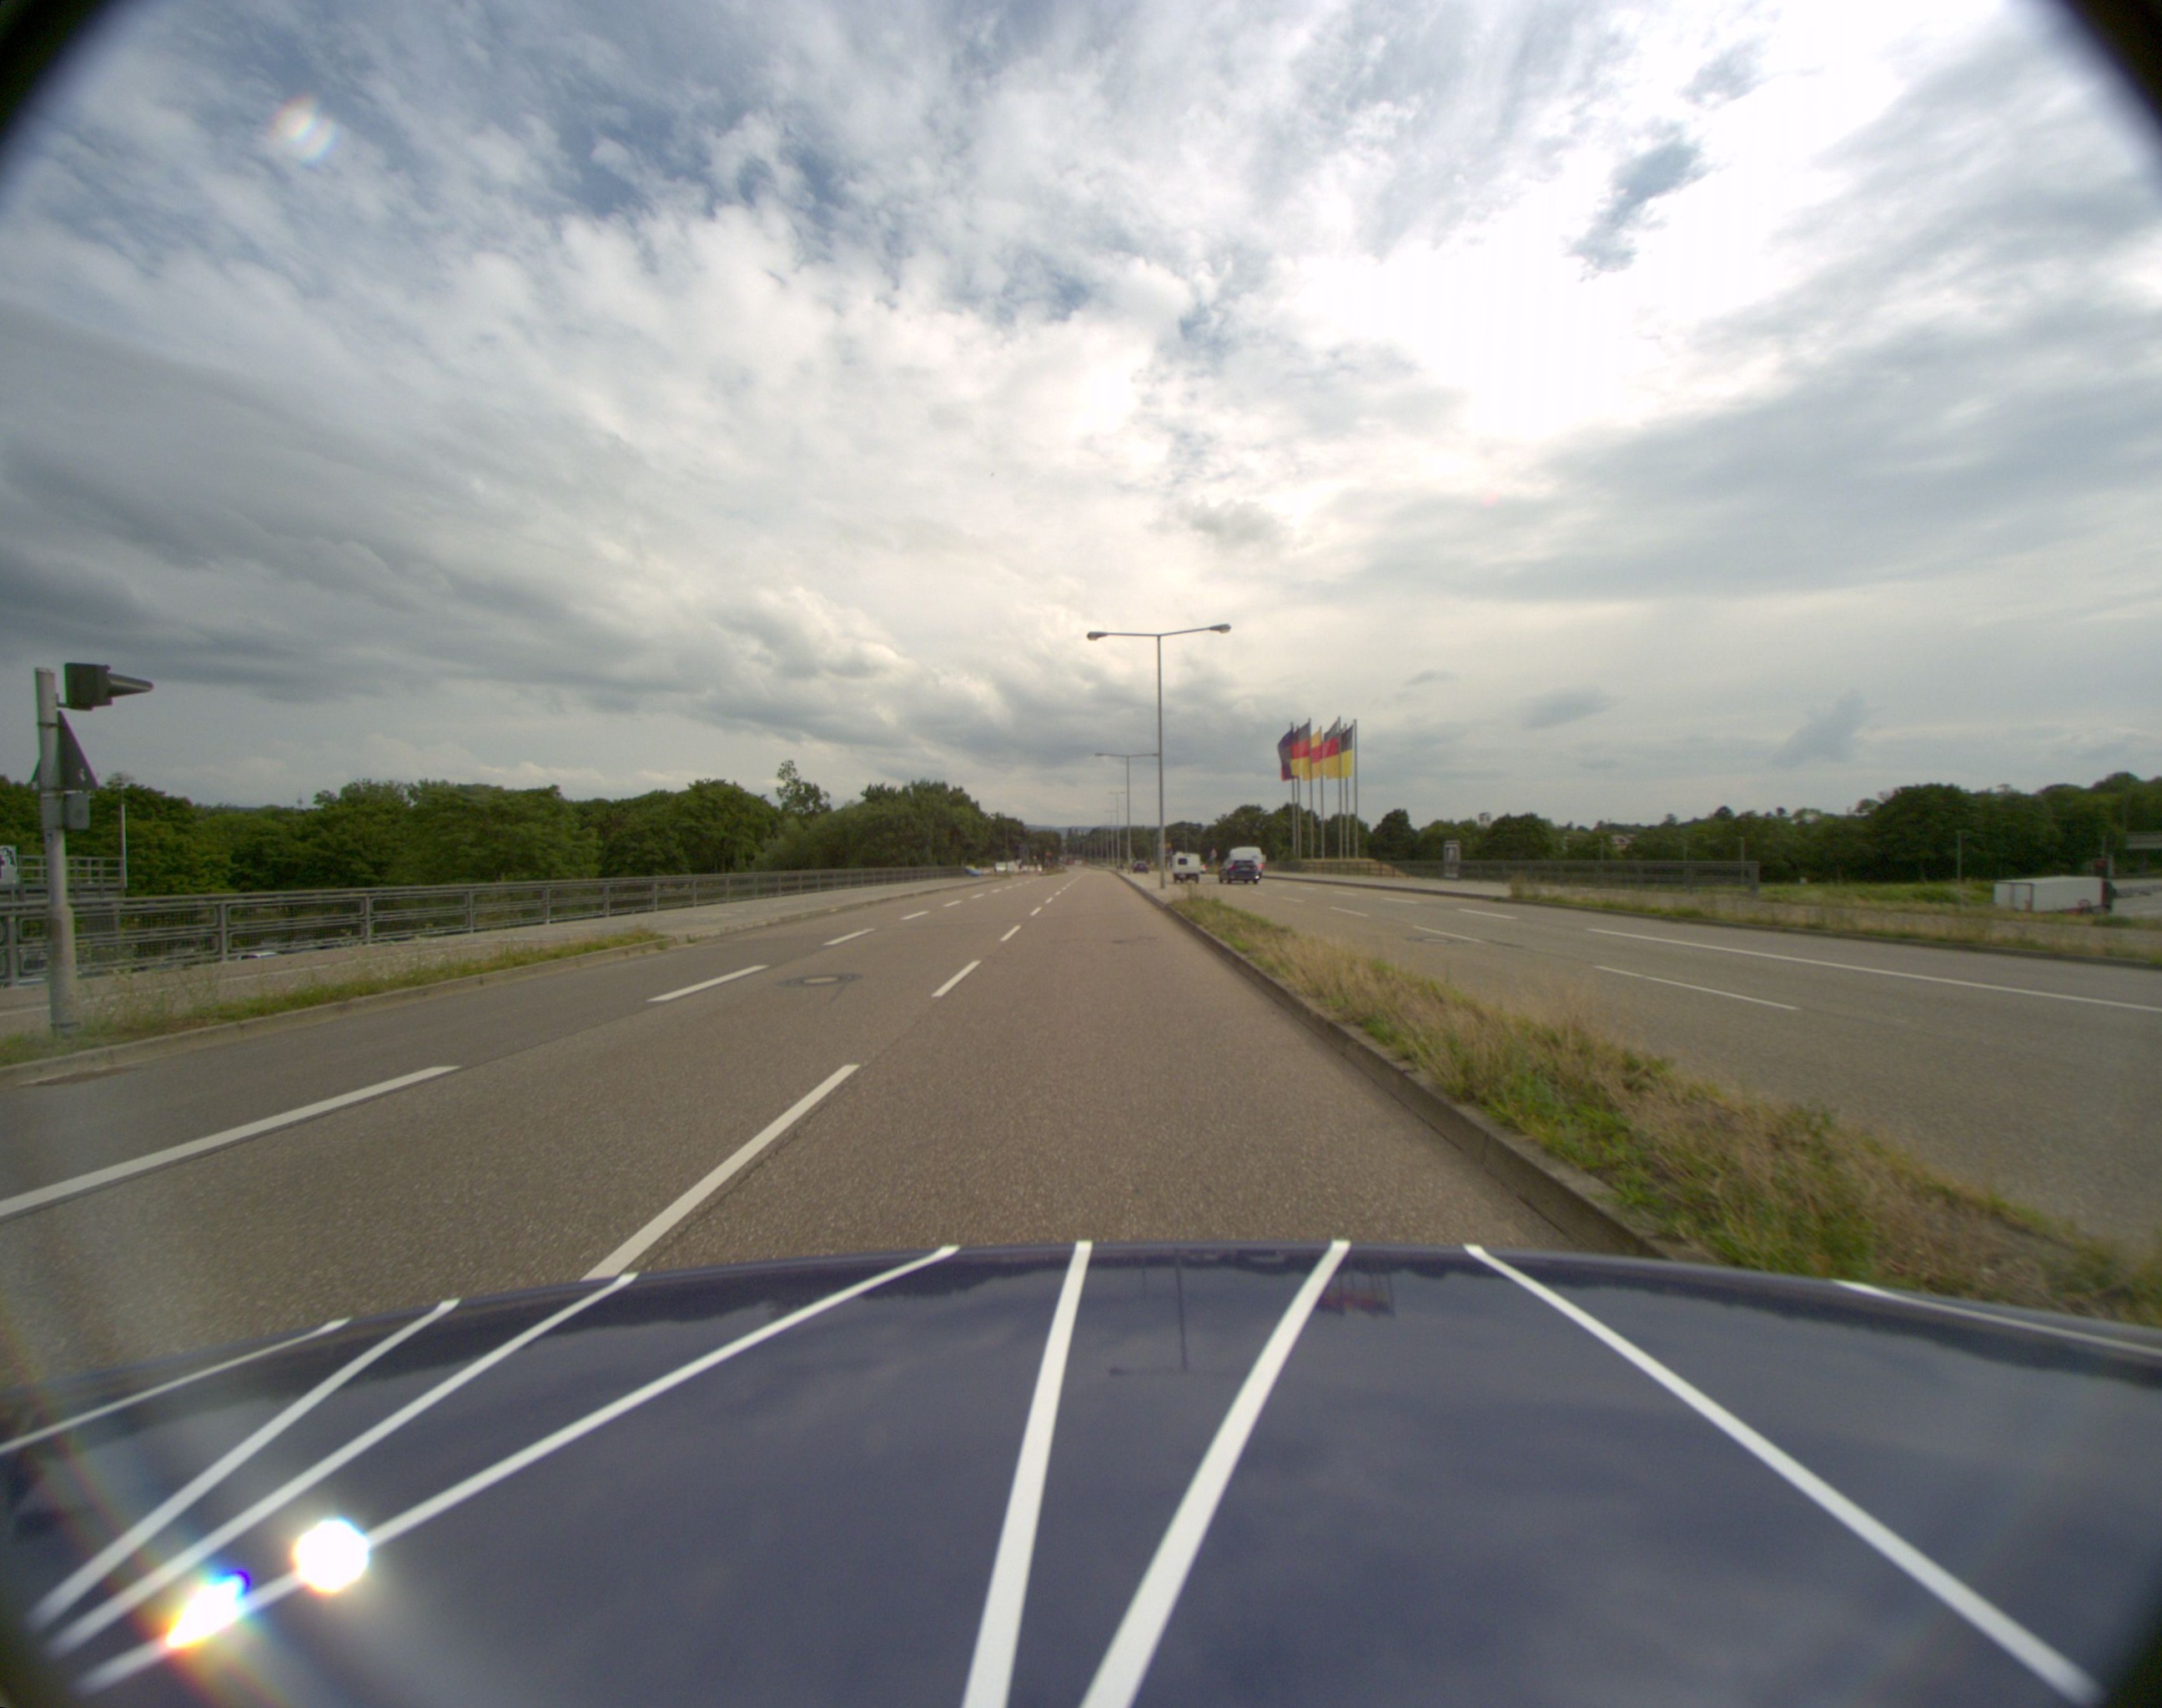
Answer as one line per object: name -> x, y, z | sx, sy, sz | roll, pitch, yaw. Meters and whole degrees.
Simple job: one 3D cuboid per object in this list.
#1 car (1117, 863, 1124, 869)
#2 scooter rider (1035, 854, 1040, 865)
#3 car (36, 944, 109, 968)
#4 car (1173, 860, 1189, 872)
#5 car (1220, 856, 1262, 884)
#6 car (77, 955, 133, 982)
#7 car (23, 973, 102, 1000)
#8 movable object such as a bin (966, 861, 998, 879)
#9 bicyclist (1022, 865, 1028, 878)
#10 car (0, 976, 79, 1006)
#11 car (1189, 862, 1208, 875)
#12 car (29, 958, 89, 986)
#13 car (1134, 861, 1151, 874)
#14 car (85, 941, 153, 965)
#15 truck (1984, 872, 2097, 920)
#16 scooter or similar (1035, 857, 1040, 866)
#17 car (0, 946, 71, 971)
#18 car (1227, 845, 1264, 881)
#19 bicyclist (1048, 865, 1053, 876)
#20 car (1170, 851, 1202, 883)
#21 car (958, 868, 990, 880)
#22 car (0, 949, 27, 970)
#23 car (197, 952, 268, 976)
car -> 11.159, 3.421, 216.651 | 1.768, 1.432, 4.178 | 0, -1, 1
scooter rider -> -6.583, 0.867, 115.460 | 0.589, 1.680, 0.744 | -2, 0, 4
car -> -89.564, 9.046, 67.571 | 2.002, 1.564, 3.993 | -3, 0, -21
car -> 14.466, 1.683, 109.976 | 1.867, 1.715, 4.771 | 1, 0, 2
car -> 9.759, 0.955, 46.736 | 1.751, 1.576, 4.587 | 1, 0, 2
car -> -77.513, 9.074, 60.406 | 2.004, 1.564, 3.989 | -2, 0, -42
car -> -74.301, 9.664, 55.452 | 3.993, 1.564, 2.002 | -3, 0, 14
movable object such as a bin -> -15.518, 2.505, 119.284 | 4.511, 2.673, 2.102 | -2, 0, 5
bicyclist -> -7.451, 2.325, 101.528 | 0.666, 1.649, 0.805 | -2, -1, 1
car -> -66.457, 8.685, 48.229 | 3.993, 1.564, 2.002 | -3, 0, 14
car -> 14.579, 1.765, 94.748 | 1.742, 1.472, 4.471 | 1, 0, 1
car -> -79.187, 9.091, 58.945 | 2.004, 1.564, 3.989 | -2, 0, -42
car -> 7.589, 1.635, 93.892 | 1.742, 1.472, 4.776 | 1, 0, 1
car -> -87.503, 8.973, 69.206 | 2.002, 1.564, 3.993 | -3, 0, -21
truck -> 98.271, 4.170, 77.766 | 14.020, 4.318, 3.024 | -1, 1, -21
scooter or similar -> -6.573, 1.147, 115.462 | 0.589, 1.217, 1.203 | -2, 0, 4
car -> -91.697, 9.128, 66.574 | 2.002, 1.564, 3.993 | -3, 0, -21
car -> 13.001, 0.705, 60.430 | 2.057, 2.627, 6.403 | 0, 0, 5
bicyclist -> -4.336, 2.362, 108.932 | 0.653, 1.648, 0.876 | -2, 0, -2
car -> 6.295, 0.781, 45.953 | 1.543, 1.860, 3.571 | 1, 0, 2
car -> -14.376, 2.678, 102.059 | 3.990, 1.509, 1.883 | -2, 0, 29
car -> -93.857, 9.213, 65.241 | 2.002, 1.564, 3.993 | -3, 0, -21
car -> -65.642, 8.511, 58.813 | 3.993, 1.564, 2.002 | -3, 0, 14
